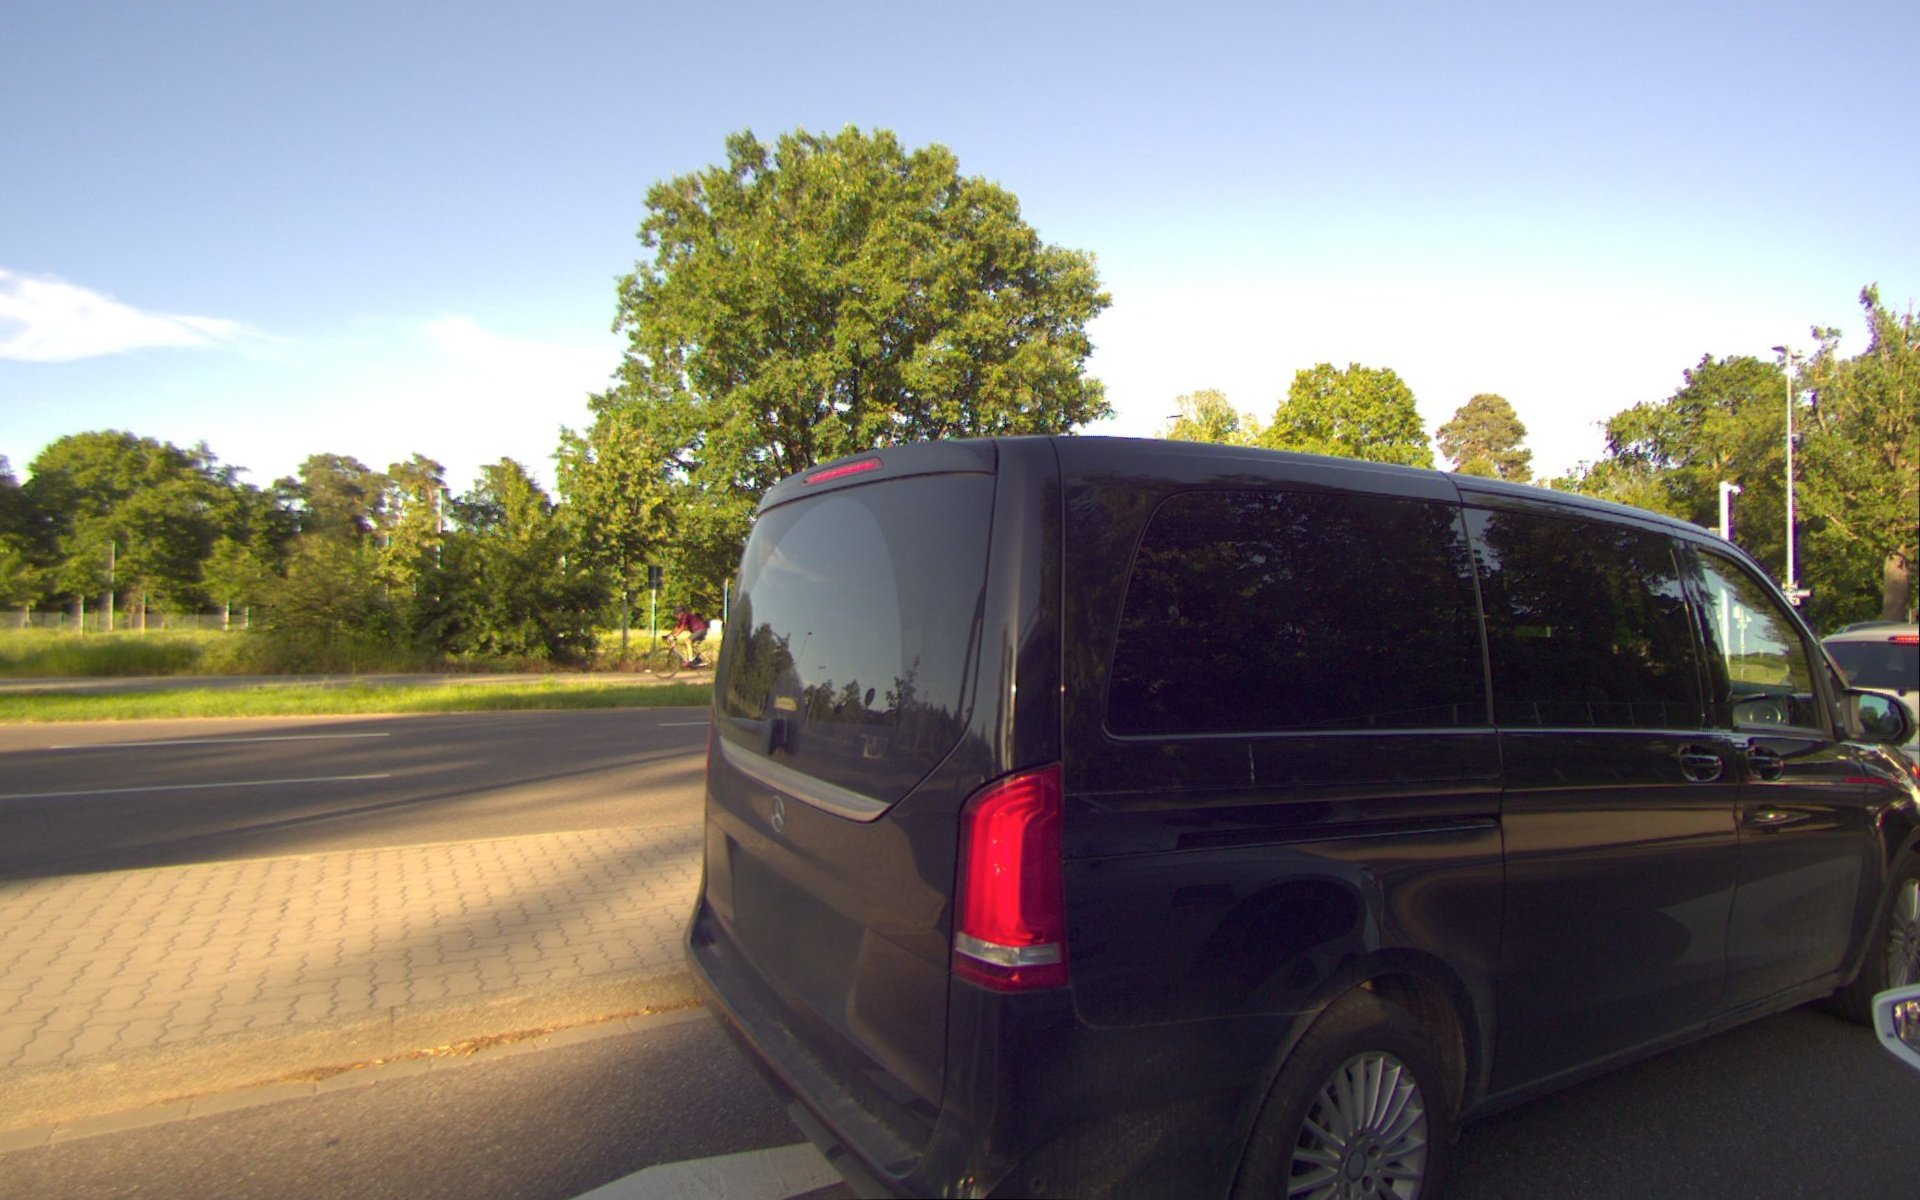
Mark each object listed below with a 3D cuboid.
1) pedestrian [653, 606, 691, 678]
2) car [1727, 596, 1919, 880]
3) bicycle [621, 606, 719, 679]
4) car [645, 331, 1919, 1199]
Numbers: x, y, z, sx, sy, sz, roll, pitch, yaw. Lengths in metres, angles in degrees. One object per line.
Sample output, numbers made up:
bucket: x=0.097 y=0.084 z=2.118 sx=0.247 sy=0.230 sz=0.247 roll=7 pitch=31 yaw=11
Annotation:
pedestrian: x=-6.481 y=0.942 z=22.579 sx=0.664 sy=1.564 sz=0.737 roll=2 pitch=0 yaw=-27
car: x=7.304 y=0.862 z=6.890 sx=4.382 sy=1.602 sz=1.710 roll=2 pitch=0 yaw=-31
bicycle: x=-6.516 y=0.967 z=22.596 sx=1.996 sy=1.571 sz=0.748 roll=2 pitch=0 yaw=-27
car: x=1.554 y=0.539 z=3.543 sx=4.815 sy=1.881 sz=1.898 roll=0 pitch=1 yaw=-30
